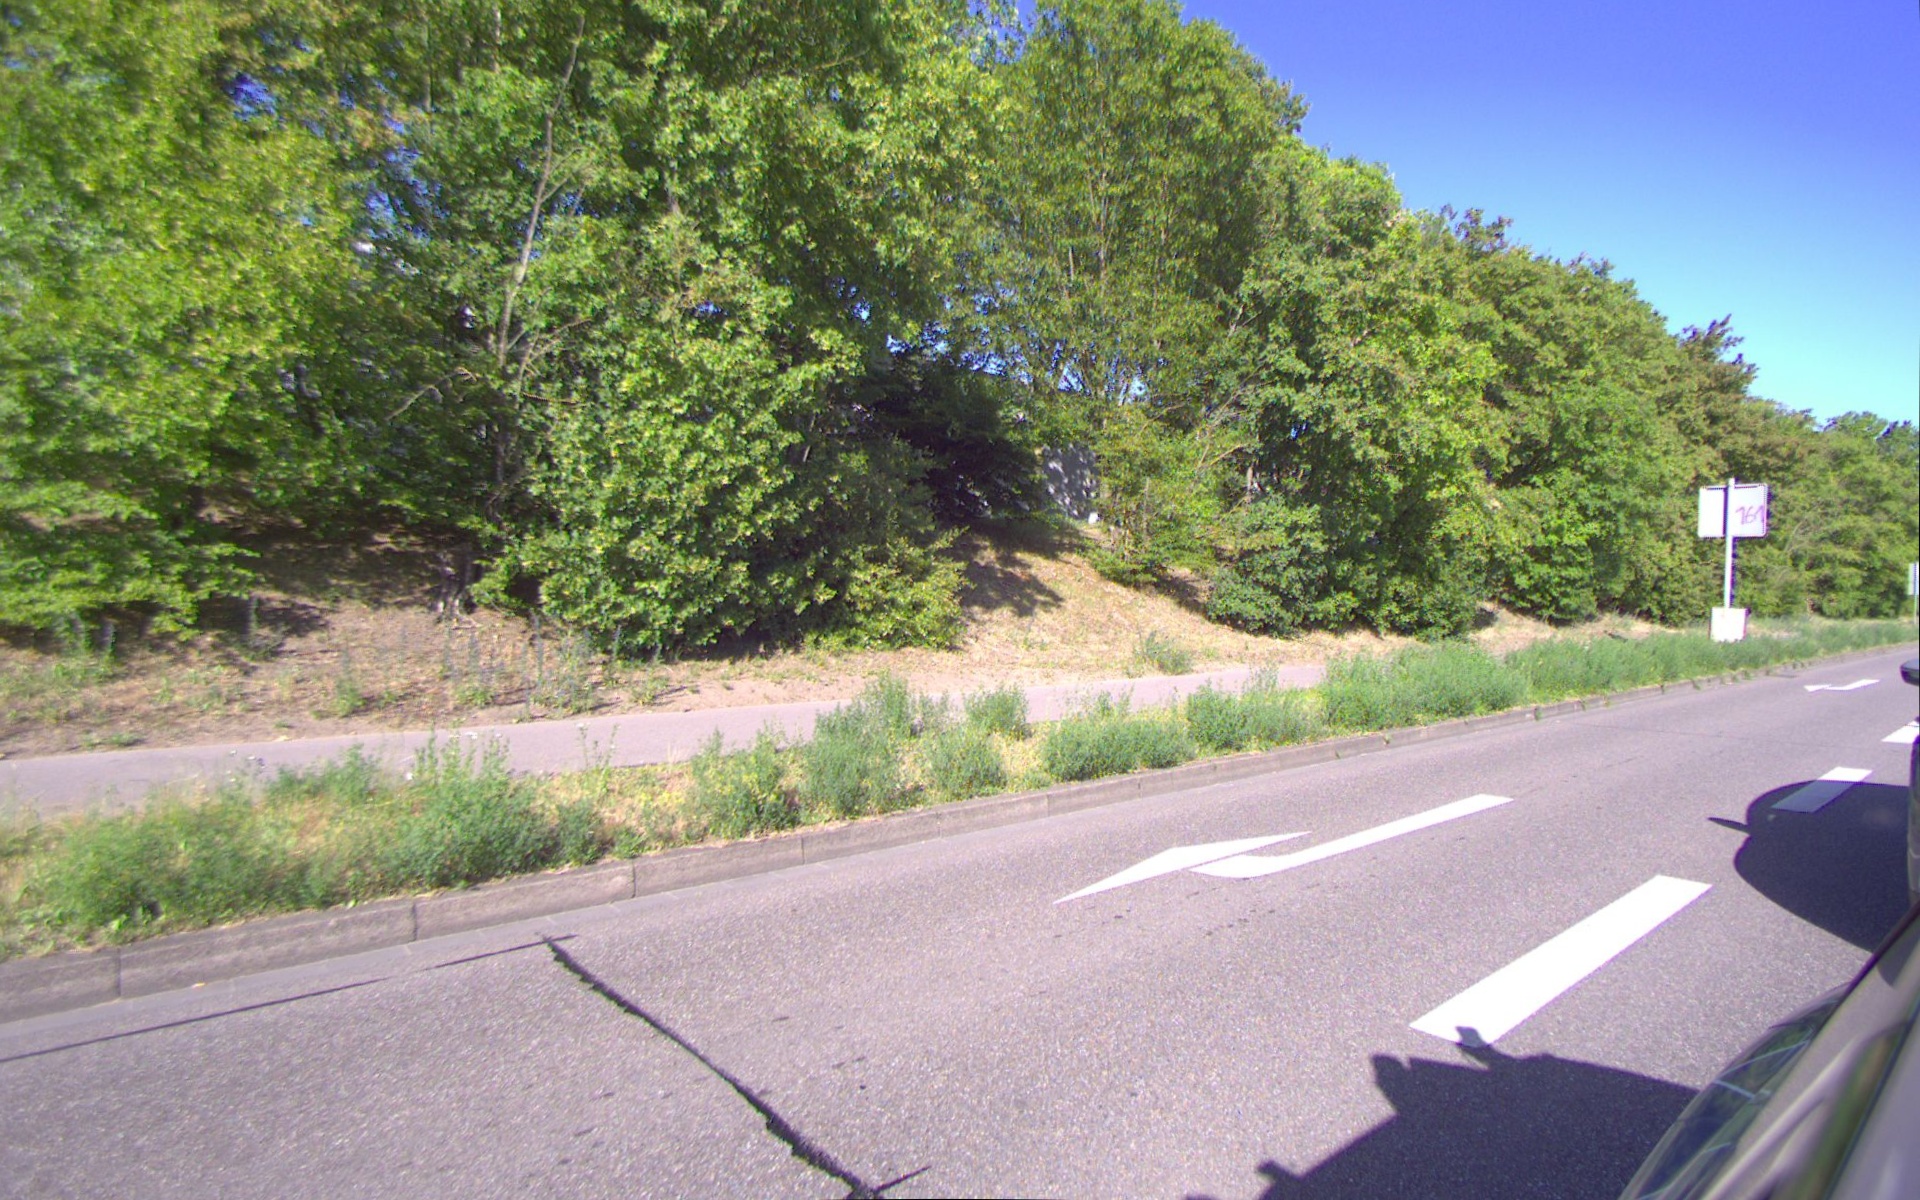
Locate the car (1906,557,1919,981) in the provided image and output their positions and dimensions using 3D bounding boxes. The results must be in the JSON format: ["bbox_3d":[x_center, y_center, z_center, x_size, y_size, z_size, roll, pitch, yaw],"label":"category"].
[{"bbox_3d":[5.702,0.661,4.443,3.863,1.617,1.869,0,0,-41],"label":"car"}]
